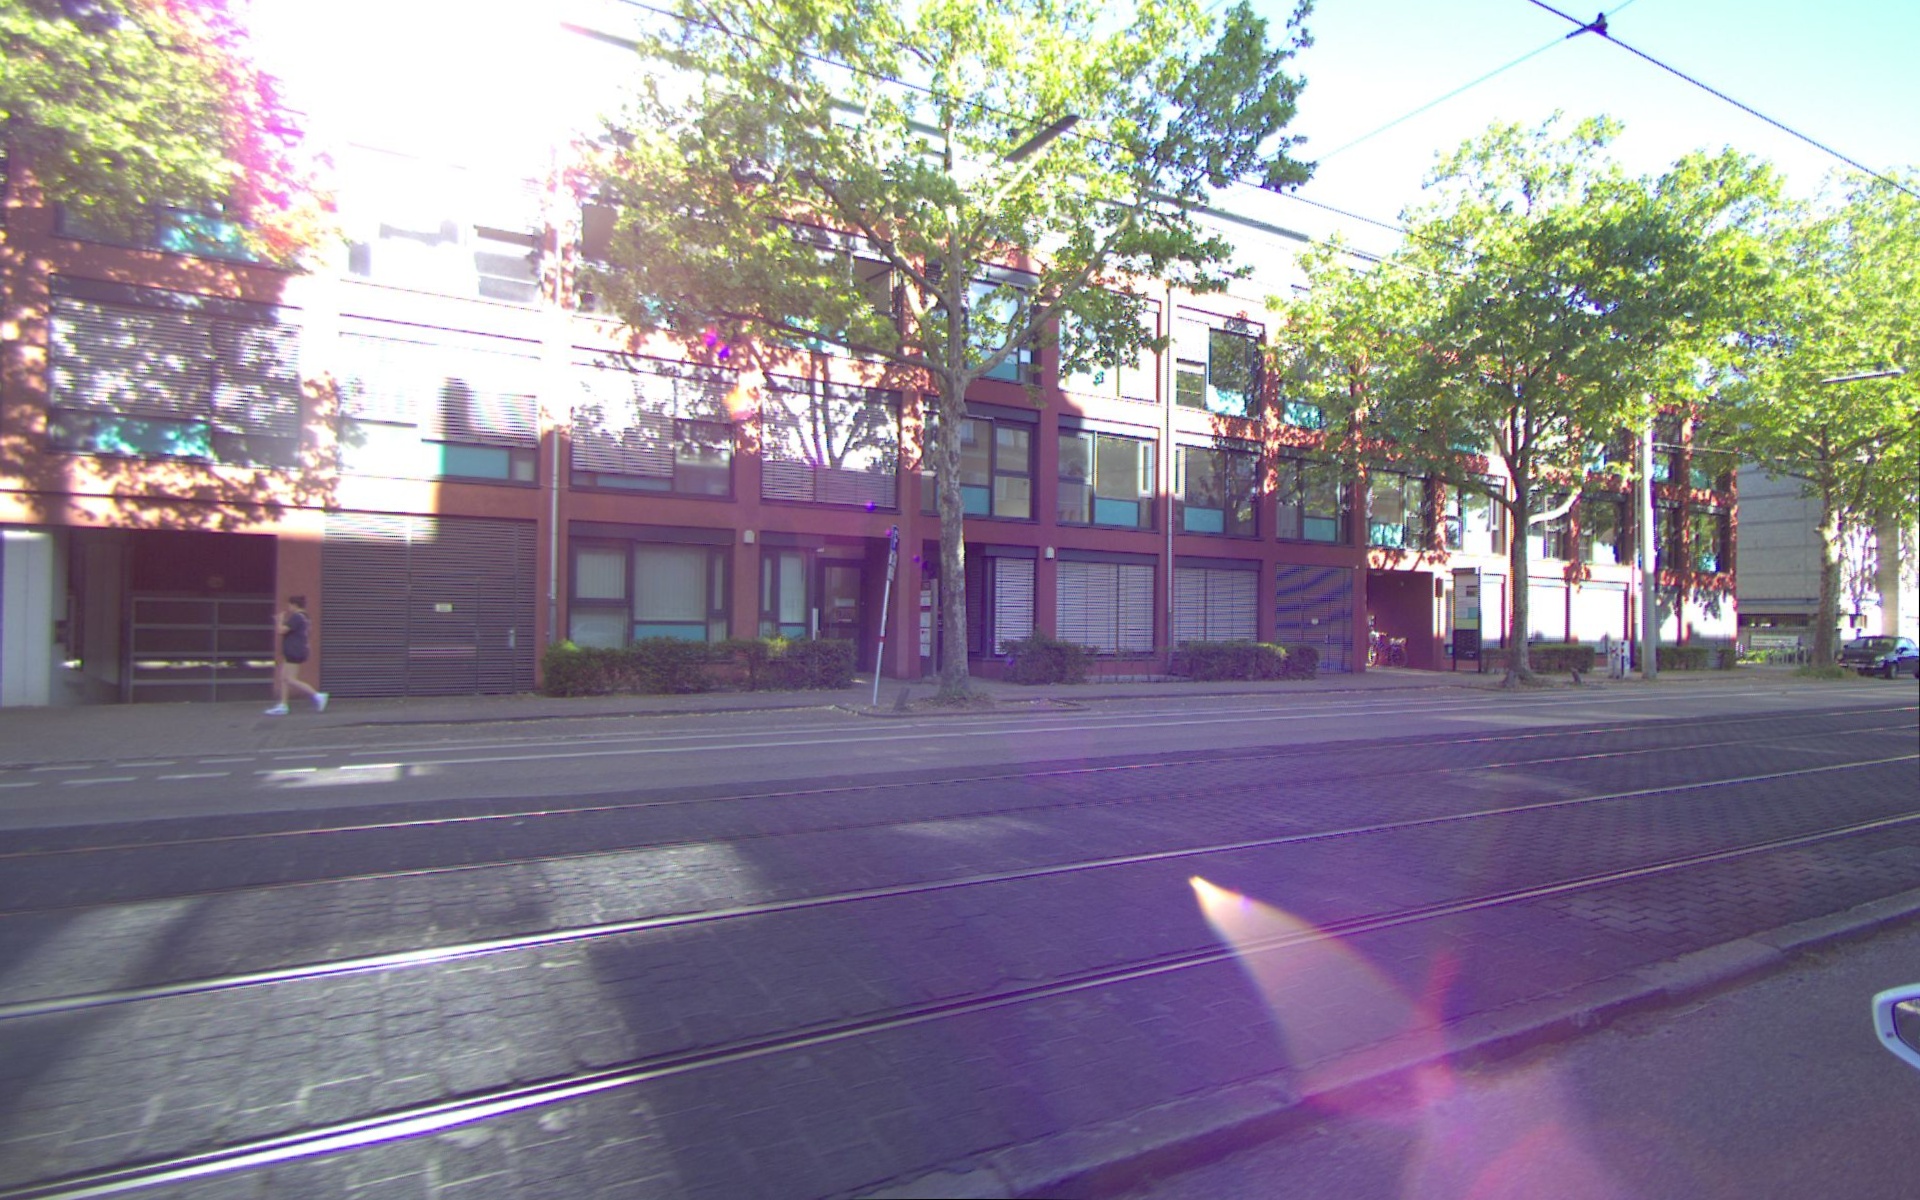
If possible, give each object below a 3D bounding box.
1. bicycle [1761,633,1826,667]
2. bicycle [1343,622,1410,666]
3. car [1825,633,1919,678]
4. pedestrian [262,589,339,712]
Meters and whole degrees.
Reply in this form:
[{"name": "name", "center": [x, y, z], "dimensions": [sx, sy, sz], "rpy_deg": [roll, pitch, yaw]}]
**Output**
[{"name": "bicycle", "center": [35.484, 2.112, 42.800], "dimensions": [0.656, 1.295, 2.000], "rpy_deg": [1, 1, -28]}, {"name": "bicycle", "center": [13.402, 1.387, 32.369], "dimensions": [0.611, 1.289, 2.053], "rpy_deg": [0, 1, -28]}, {"name": "car", "center": [32.275, 1.964, 35.432], "dimensions": [3.420, 1.473, 1.501], "rpy_deg": [3, -1, -28]}, {"name": "pedestrian", "center": [-9.683, 0.723, 14.776], "dimensions": [0.890, 1.741, 0.622], "rpy_deg": [1, 1, -30]}]
